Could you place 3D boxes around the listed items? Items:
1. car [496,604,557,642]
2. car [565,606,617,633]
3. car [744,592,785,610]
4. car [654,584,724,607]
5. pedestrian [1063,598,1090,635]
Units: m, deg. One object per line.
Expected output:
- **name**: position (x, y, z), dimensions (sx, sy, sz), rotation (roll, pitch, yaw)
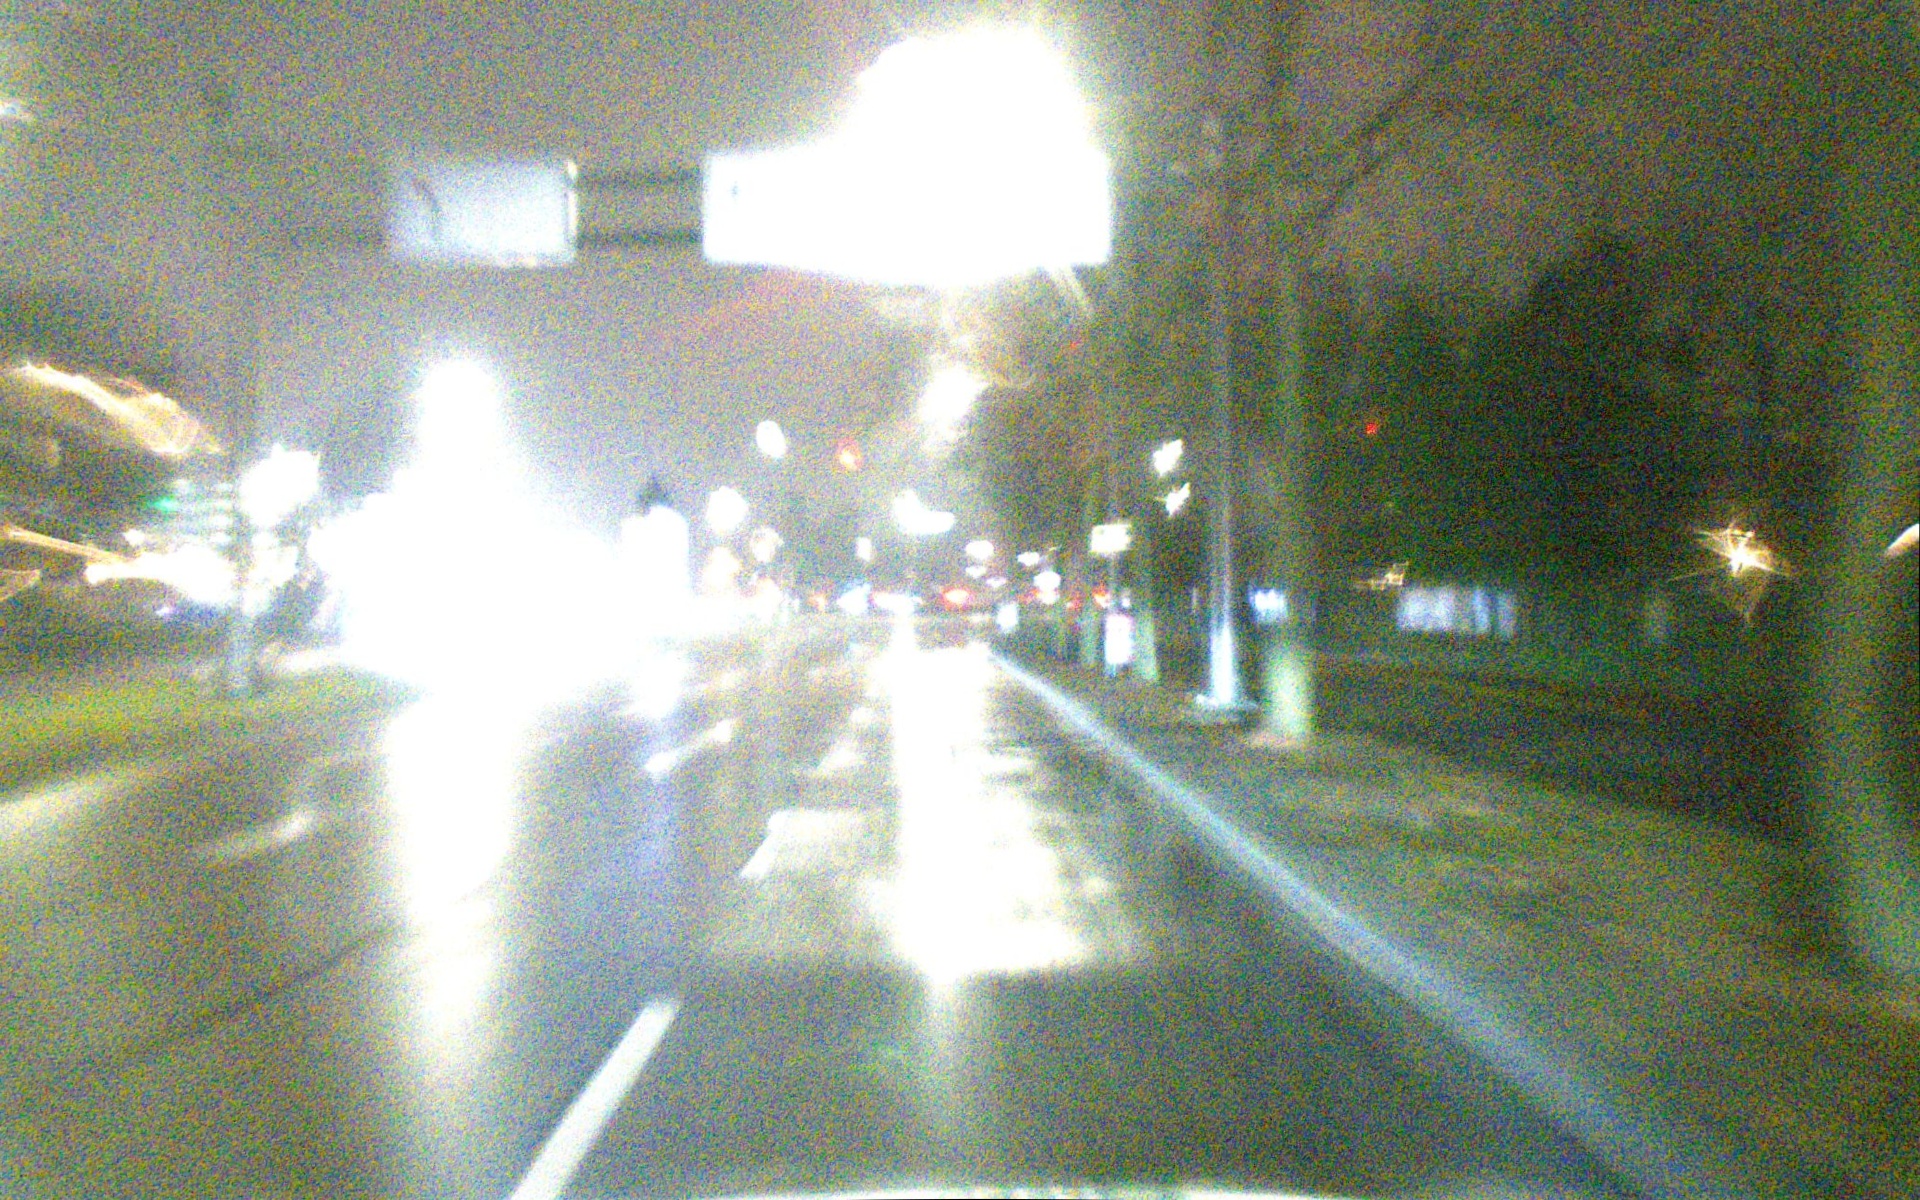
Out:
- **car**: position (-20.761, 1.077, 79.383), dimensions (1.792, 1.743, 4.440), rotation (1, 0, -1)
- **car**: position (-21.684, 1.132, 97.084), dimensions (1.812, 1.490, 3.956), rotation (1, 0, -32)
- **car**: position (-18.971, 0.122, 160.356), dimensions (3.912, 1.644, 1.833), rotation (1, 0, -8)
- **car**: position (-25.951, -0.437, 158.297), dimensions (6.215, 2.125, 2.495), rotation (1, 0, -26)
- **pedestrian**: position (5.848, 0.816, 82.946), dimensions (1.202, 1.825, 1.490), rotation (1, 0, -1)
